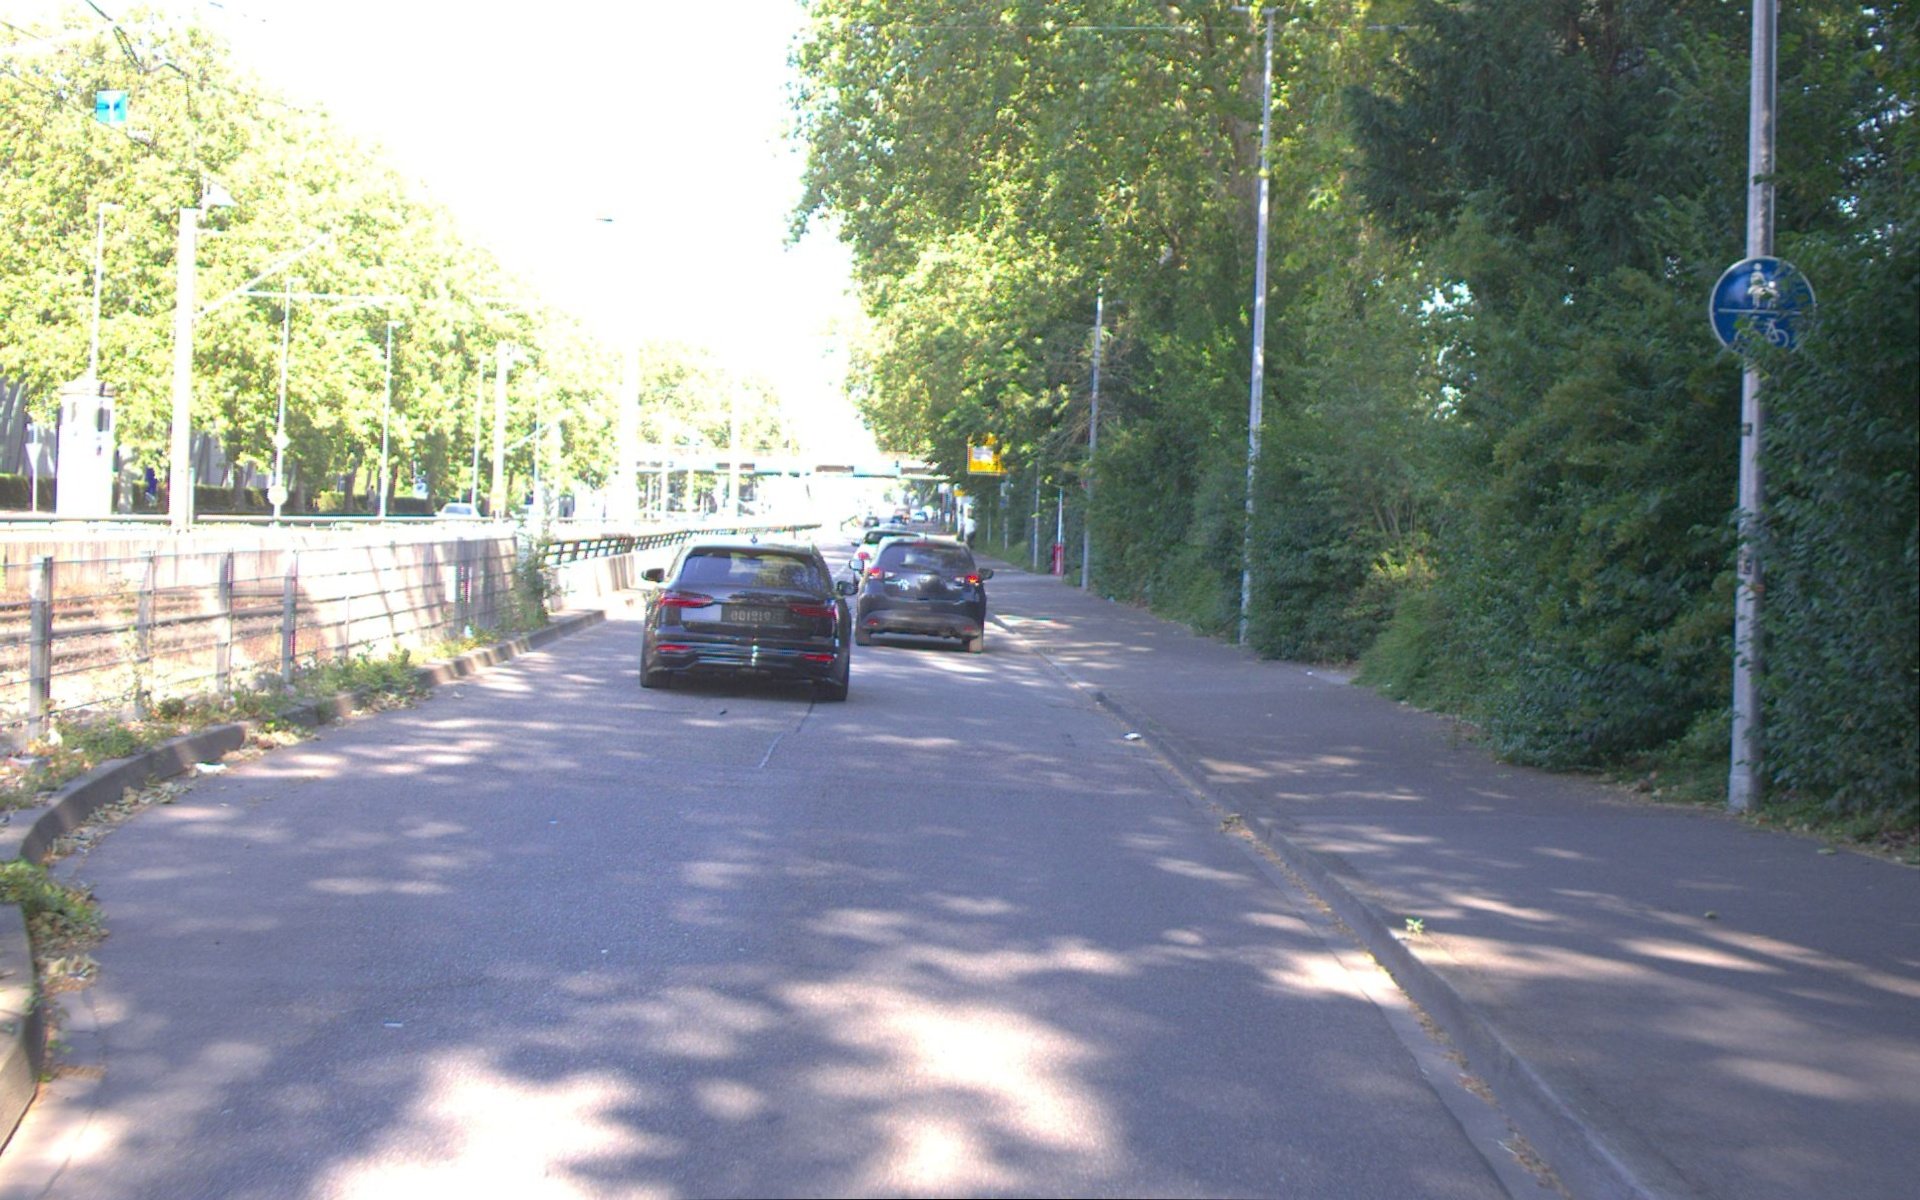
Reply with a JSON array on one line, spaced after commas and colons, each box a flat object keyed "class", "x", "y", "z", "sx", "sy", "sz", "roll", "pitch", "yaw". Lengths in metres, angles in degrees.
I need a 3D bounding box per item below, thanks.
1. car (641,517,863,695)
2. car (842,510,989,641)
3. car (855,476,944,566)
[{"class": "car", "x": -1.906, "y": 0.014, "z": 31.711, "sx": 1.878, "sy": 1.452, "sz": 3.357, "roll": 2, "pitch": 2, "yaw": -3}, {"class": "car", "x": -0.643, "y": -0.371, "z": 46.359, "sx": 1.762, "sy": 1.613, "sz": 4.001, "roll": 2, "pitch": 2, "yaw": -3}, {"class": "car", "x": -1.419, "y": -1.886, "z": 81.400, "sx": 1.993, "sy": 2.006, "sz": 4.000, "roll": 2, "pitch": 2, "yaw": -1}]
